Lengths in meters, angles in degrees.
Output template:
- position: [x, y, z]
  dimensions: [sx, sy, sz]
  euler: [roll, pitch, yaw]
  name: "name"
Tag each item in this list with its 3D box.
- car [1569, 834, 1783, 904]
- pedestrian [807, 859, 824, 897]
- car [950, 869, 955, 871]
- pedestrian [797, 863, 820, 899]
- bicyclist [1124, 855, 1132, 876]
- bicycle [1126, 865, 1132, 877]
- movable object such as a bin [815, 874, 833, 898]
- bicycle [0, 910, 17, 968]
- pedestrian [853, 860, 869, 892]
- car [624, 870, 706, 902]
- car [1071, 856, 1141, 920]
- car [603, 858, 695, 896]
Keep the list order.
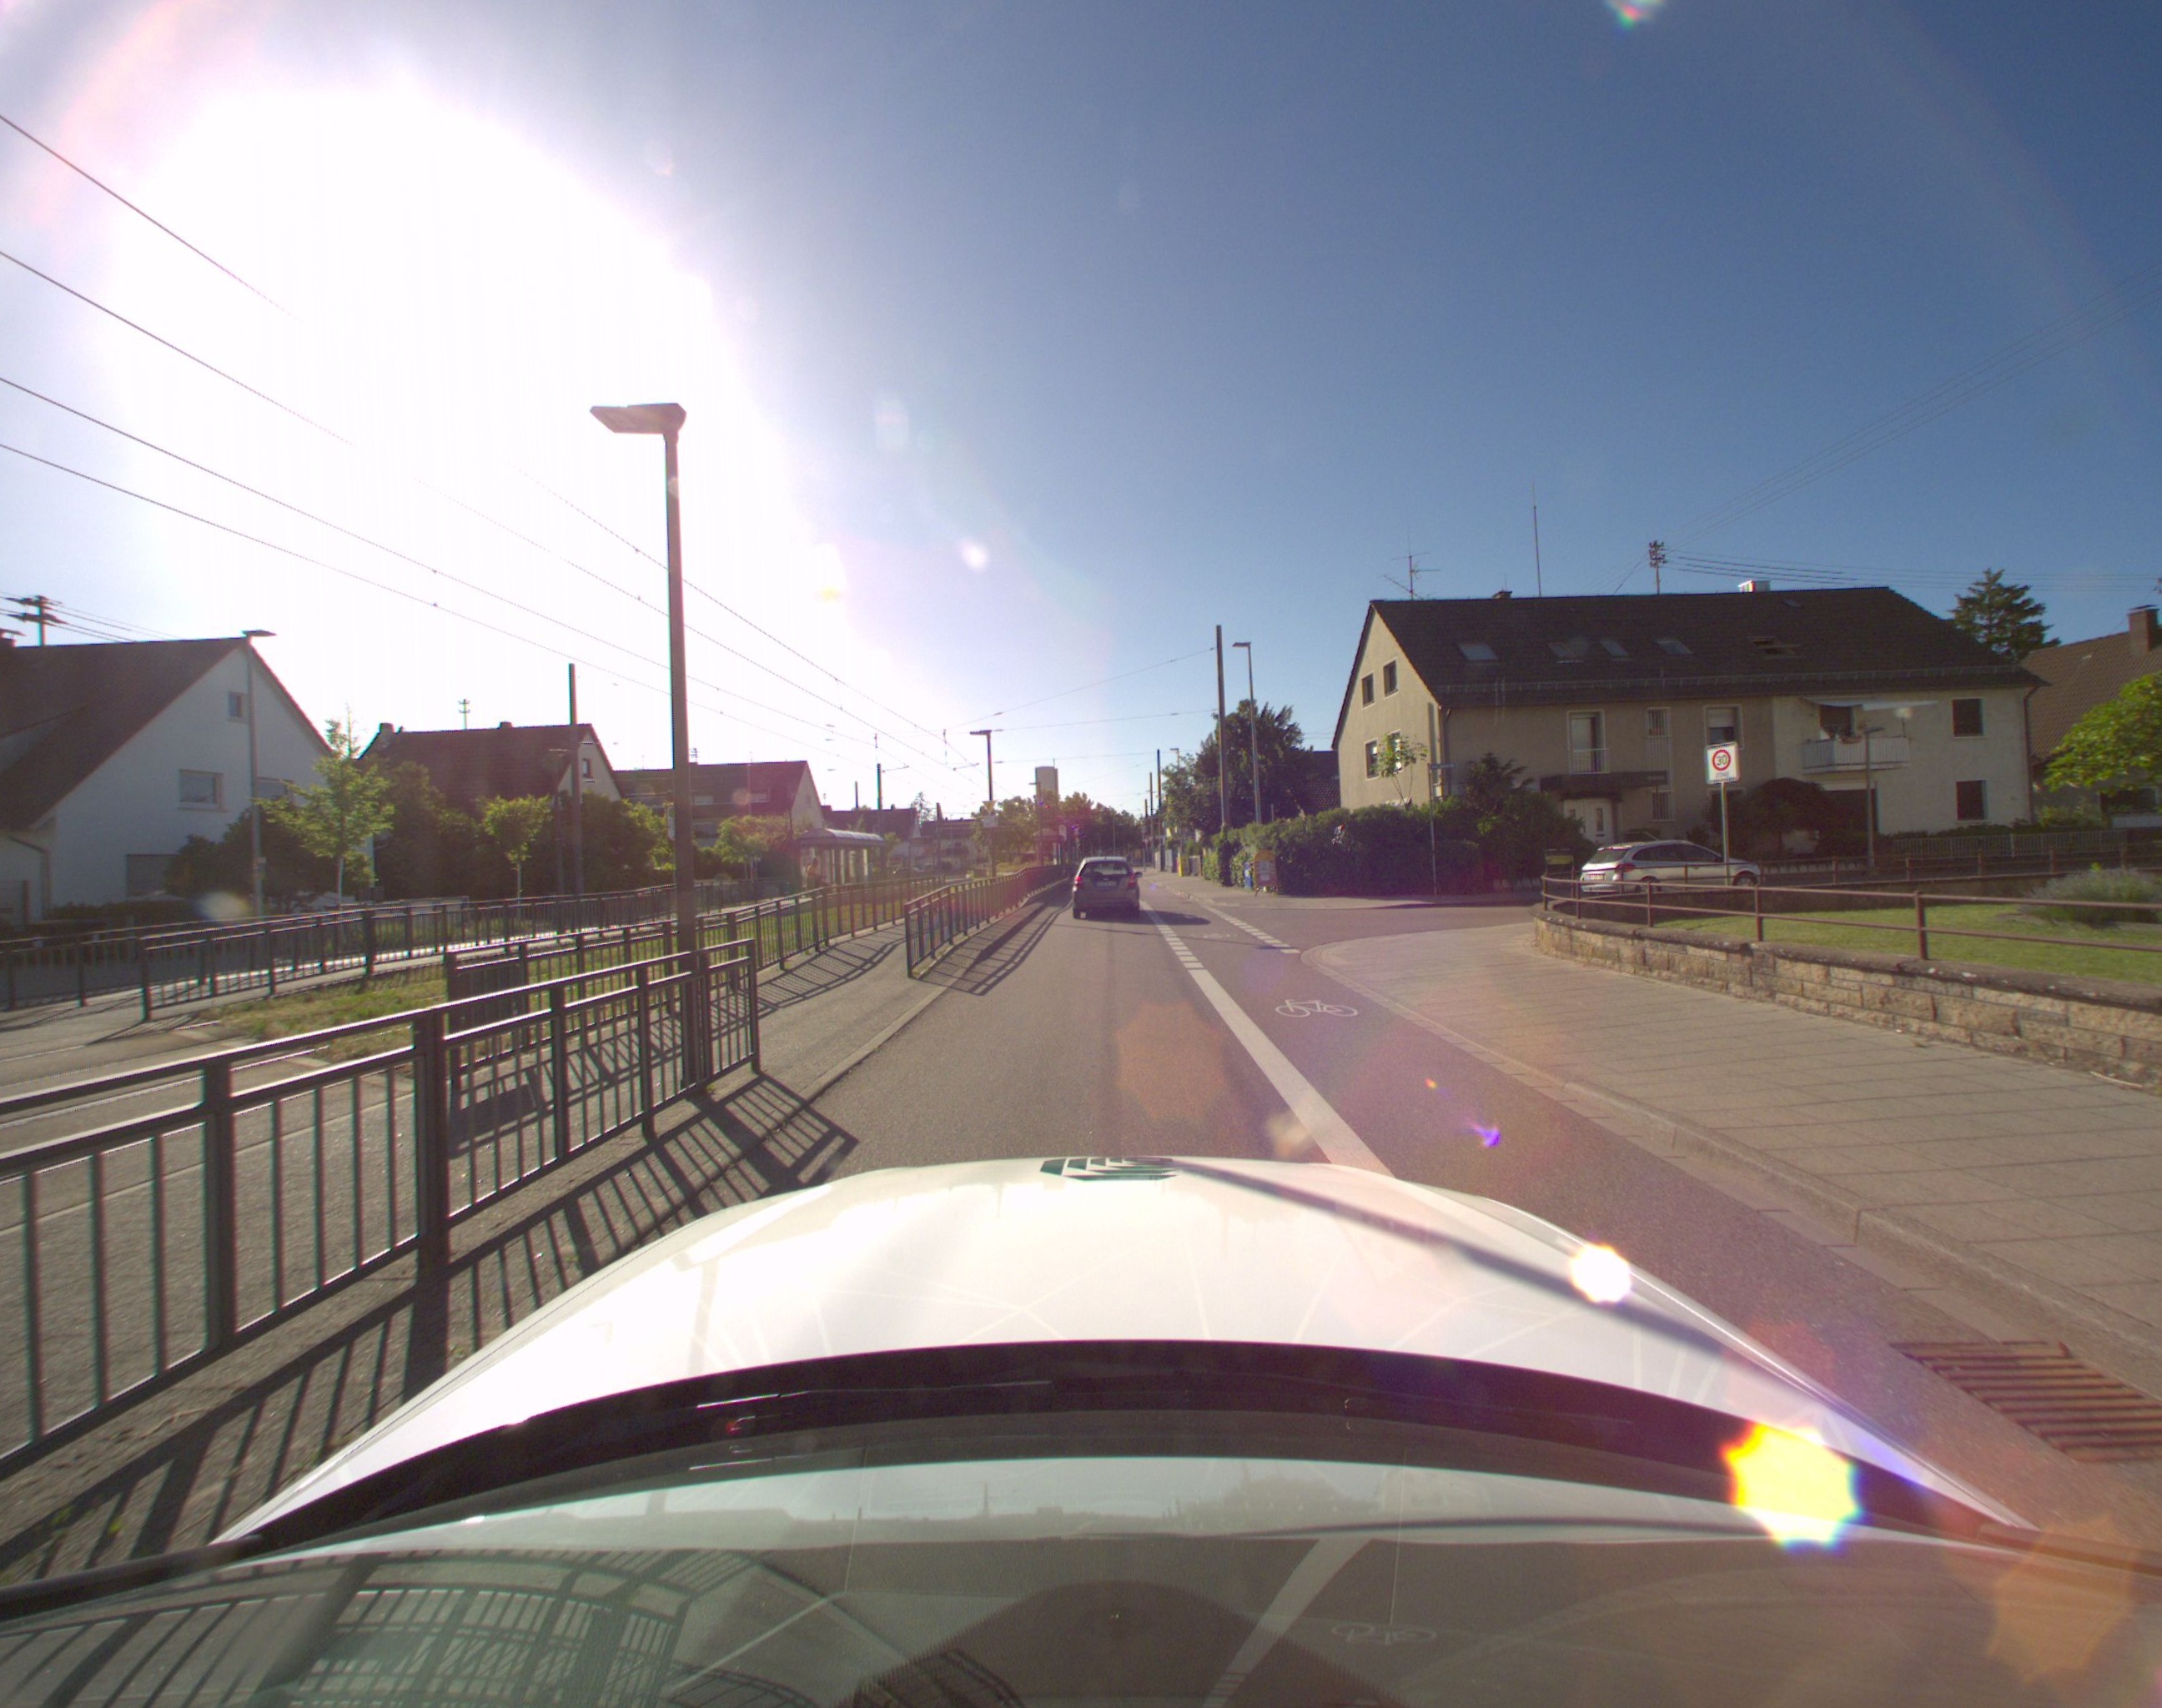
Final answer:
- position: [14.938, 0.384, 20.600]
  dimensions: [4.131, 1.511, 1.799]
  euler: [-2, -2, -4]
  name: "car"
- position: [-12.049, 1.088, 36.938]
  dimensions: [0.518, 1.708, 0.580]
  euler: [-2, -1, -3]
  name: "pedestrian"
- position: [-20.076, 2.509, 126.874]
  dimensions: [0.695, 0.336, 0.330]
  euler: [-1, -1, 6]
  name: "car"
- position: [-11.801, 1.157, 35.279]
  dimensions: [0.673, 1.536, 0.748]
  euler: [-2, -1, -3]
  name: "pedestrian"
- position: [3.878, 0.943, 67.337]
  dimensions: [0.596, 1.701, 0.684]
  euler: [-1, -1, 2]
  name: "bicyclist"
- position: [3.974, 1.396, 67.501]
  dimensions: [0.473, 0.961, 1.657]
  euler: [-1, -1, 2]
  name: "bicycle"
- position: [-11.182, 1.392, 35.408]
  dimensions: [0.545, 0.988, 0.741]
  euler: [-2, -1, -2]
  name: "movable object such as a bin"
- position: [-26.598, 2.056, 19.173]
  dimensions: [1.985, 1.366, 0.703]
  euler: [-2, -1, -6]
  name: "bicycle"
- position: [-11.898, 1.169, 43.985]
  dimensions: [0.498, 1.696, 0.771]
  euler: [-5, -1, 2]
  name: "pedestrian"
- position: [-24.329, 1.854, 47.726]
  dimensions: [3.839, 1.806, 1.795]
  euler: [-1, -1, -6]
  name: "car"
- position: [0.626, 0.842, 21.345]
  dimensions: [1.664, 1.536, 3.487]
  euler: [-1, -1, 1]
  name: "car"
- position: [-23.438, 1.239, 44.290]
  dimensions: [3.982, 1.970, 1.929]
  euler: [-1, -1, -6]
  name: "car"
